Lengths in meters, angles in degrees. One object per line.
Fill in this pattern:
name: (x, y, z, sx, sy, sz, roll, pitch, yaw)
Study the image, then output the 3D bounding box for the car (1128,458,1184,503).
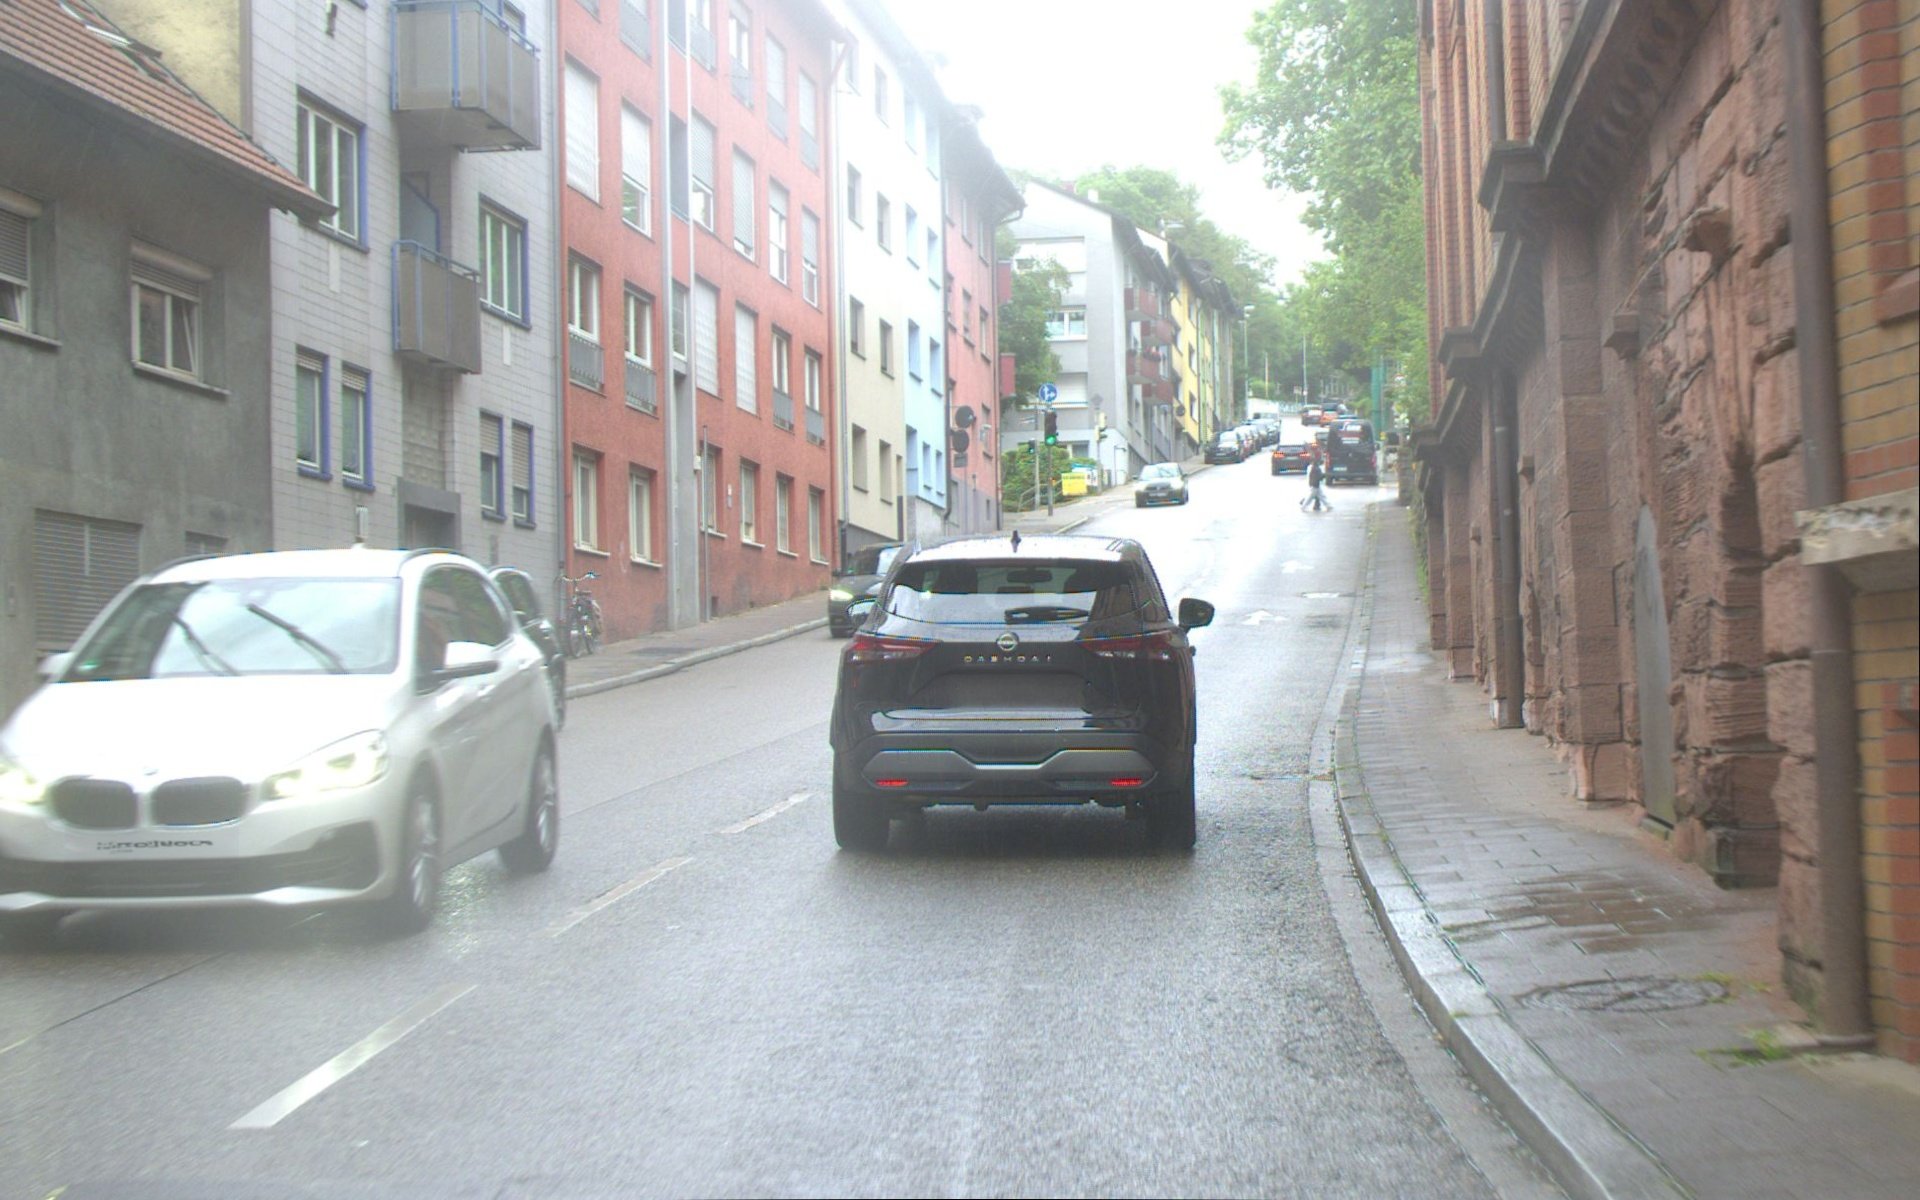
car: (6.832, -4.173, 119.647, 1.714, 1.443, 3.921, -2, 3, 6)

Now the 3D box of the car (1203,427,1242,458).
car: (13.810, -8.280, 180.608, 1.795, 1.505, 3.999, -2, 2, 7)

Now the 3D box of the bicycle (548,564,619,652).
bicycle: (-5.118, 0.095, 46.789, 0.498, 1.104, 1.800, -1, 2, 8)

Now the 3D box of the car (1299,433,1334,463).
car: (19.408, -8.270, 187.158, 1.795, 1.505, 3.999, -2, 2, 7)

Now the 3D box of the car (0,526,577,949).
car: (-2.954, 0.507, 15.106, 1.764, 1.571, 4.036, -2, 1, 4)

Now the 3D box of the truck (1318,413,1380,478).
truck: (15.341, -6.074, 135.453, 2.290, 2.431, 4.451, -2, 2, 7)

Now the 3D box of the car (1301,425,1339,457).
car: (17.967, -7.937, 171.484, 1.795, 1.505, 3.999, -2, 2, 7)

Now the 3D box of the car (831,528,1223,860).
car: (0.343, 0.415, 18.444, 1.881, 1.588, 3.921, 0, 1, 1)

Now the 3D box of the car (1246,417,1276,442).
car: (19.731, -11.136, 225.066, 1.795, 1.505, 3.999, -2, 2, 7)

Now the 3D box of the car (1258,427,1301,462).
car: (14.596, -7.076, 156.789, 1.795, 1.505, 3.999, -2, 2, 7)

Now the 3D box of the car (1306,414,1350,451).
car: (16.092, -7.306, 150.357, 1.795, 1.505, 4.499, -2, 2, 7)

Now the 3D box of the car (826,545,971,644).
car: (-0.933, -0.106, 54.055, 1.645, 1.373, 3.850, -3, 1, 8)
